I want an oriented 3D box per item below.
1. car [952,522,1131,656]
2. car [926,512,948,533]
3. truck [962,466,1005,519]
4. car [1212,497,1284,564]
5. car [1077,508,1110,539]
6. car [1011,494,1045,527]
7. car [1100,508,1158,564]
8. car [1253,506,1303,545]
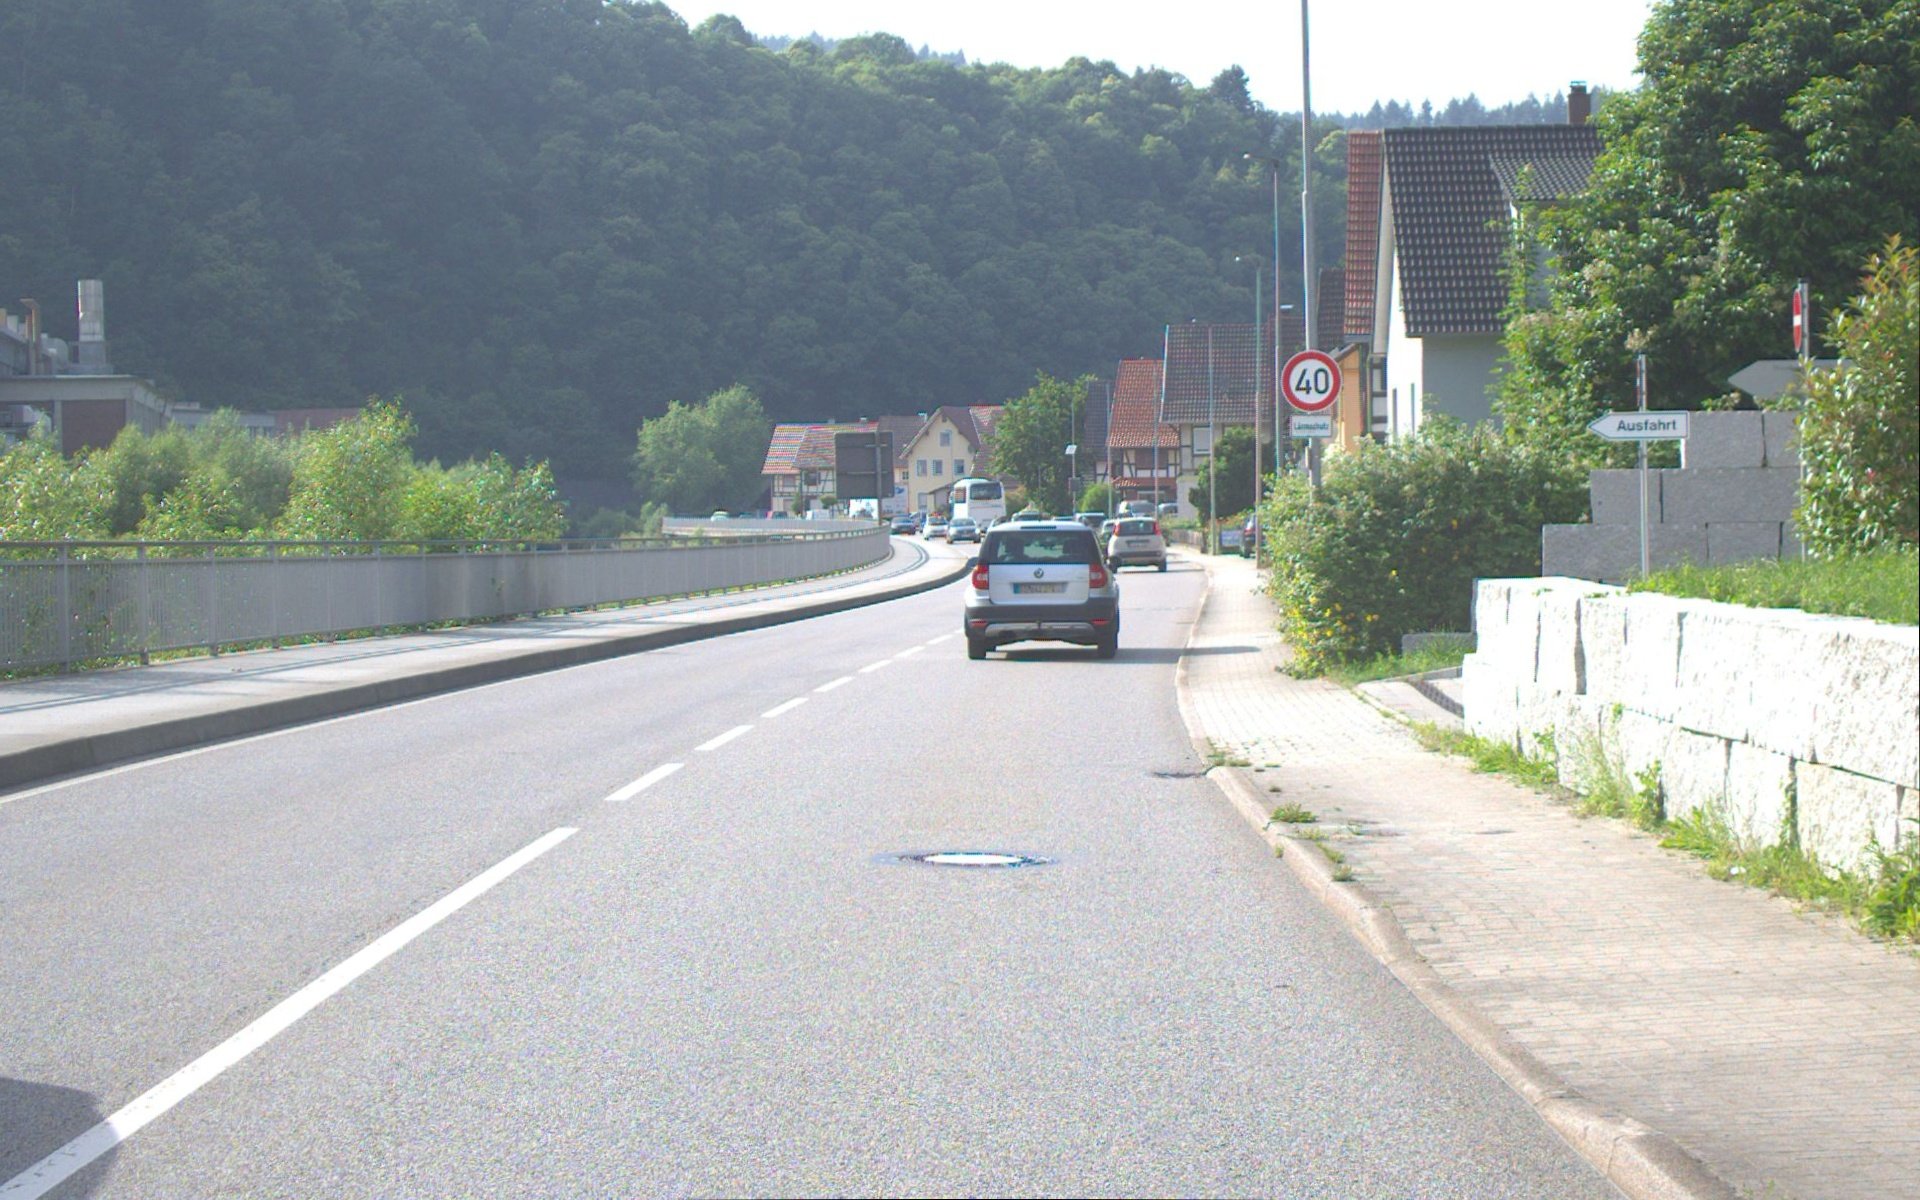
[{"bbox_3d":[1.045,-0.170,41.859,1.861,1.539,4.372,0,1,5],"label":"car"},{"bbox_3d":[-1.453,-4.965,219.444,1.364,1.273,3.083,-1,0,0],"label":"car"},{"bbox_3d":[1.509,-7.044,223.813,2.729,3.363,6.479,-1,2,0],"label":"truck"},{"bbox_3d":[7.390,-1.753,87.906,1.610,1.640,3.649,-1,0,8],"label":"car"},{"bbox_3d":[5.614,-3.210,144.698,1.364,1.273,3.083,-1,0,2],"label":"car"},{"bbox_3d":[3.821,-5.027,192.385,1.674,1.746,3.448,0,2,4],"label":"car"},{"bbox_3d":[4.865,-1.825,98.808,1.622,1.536,3.278,-1,0,3],"label":"car"},{"bbox_3d":[10.310,-2.400,111.483,1.545,1.212,3.277,-1,0,6],"label":"car"}]
